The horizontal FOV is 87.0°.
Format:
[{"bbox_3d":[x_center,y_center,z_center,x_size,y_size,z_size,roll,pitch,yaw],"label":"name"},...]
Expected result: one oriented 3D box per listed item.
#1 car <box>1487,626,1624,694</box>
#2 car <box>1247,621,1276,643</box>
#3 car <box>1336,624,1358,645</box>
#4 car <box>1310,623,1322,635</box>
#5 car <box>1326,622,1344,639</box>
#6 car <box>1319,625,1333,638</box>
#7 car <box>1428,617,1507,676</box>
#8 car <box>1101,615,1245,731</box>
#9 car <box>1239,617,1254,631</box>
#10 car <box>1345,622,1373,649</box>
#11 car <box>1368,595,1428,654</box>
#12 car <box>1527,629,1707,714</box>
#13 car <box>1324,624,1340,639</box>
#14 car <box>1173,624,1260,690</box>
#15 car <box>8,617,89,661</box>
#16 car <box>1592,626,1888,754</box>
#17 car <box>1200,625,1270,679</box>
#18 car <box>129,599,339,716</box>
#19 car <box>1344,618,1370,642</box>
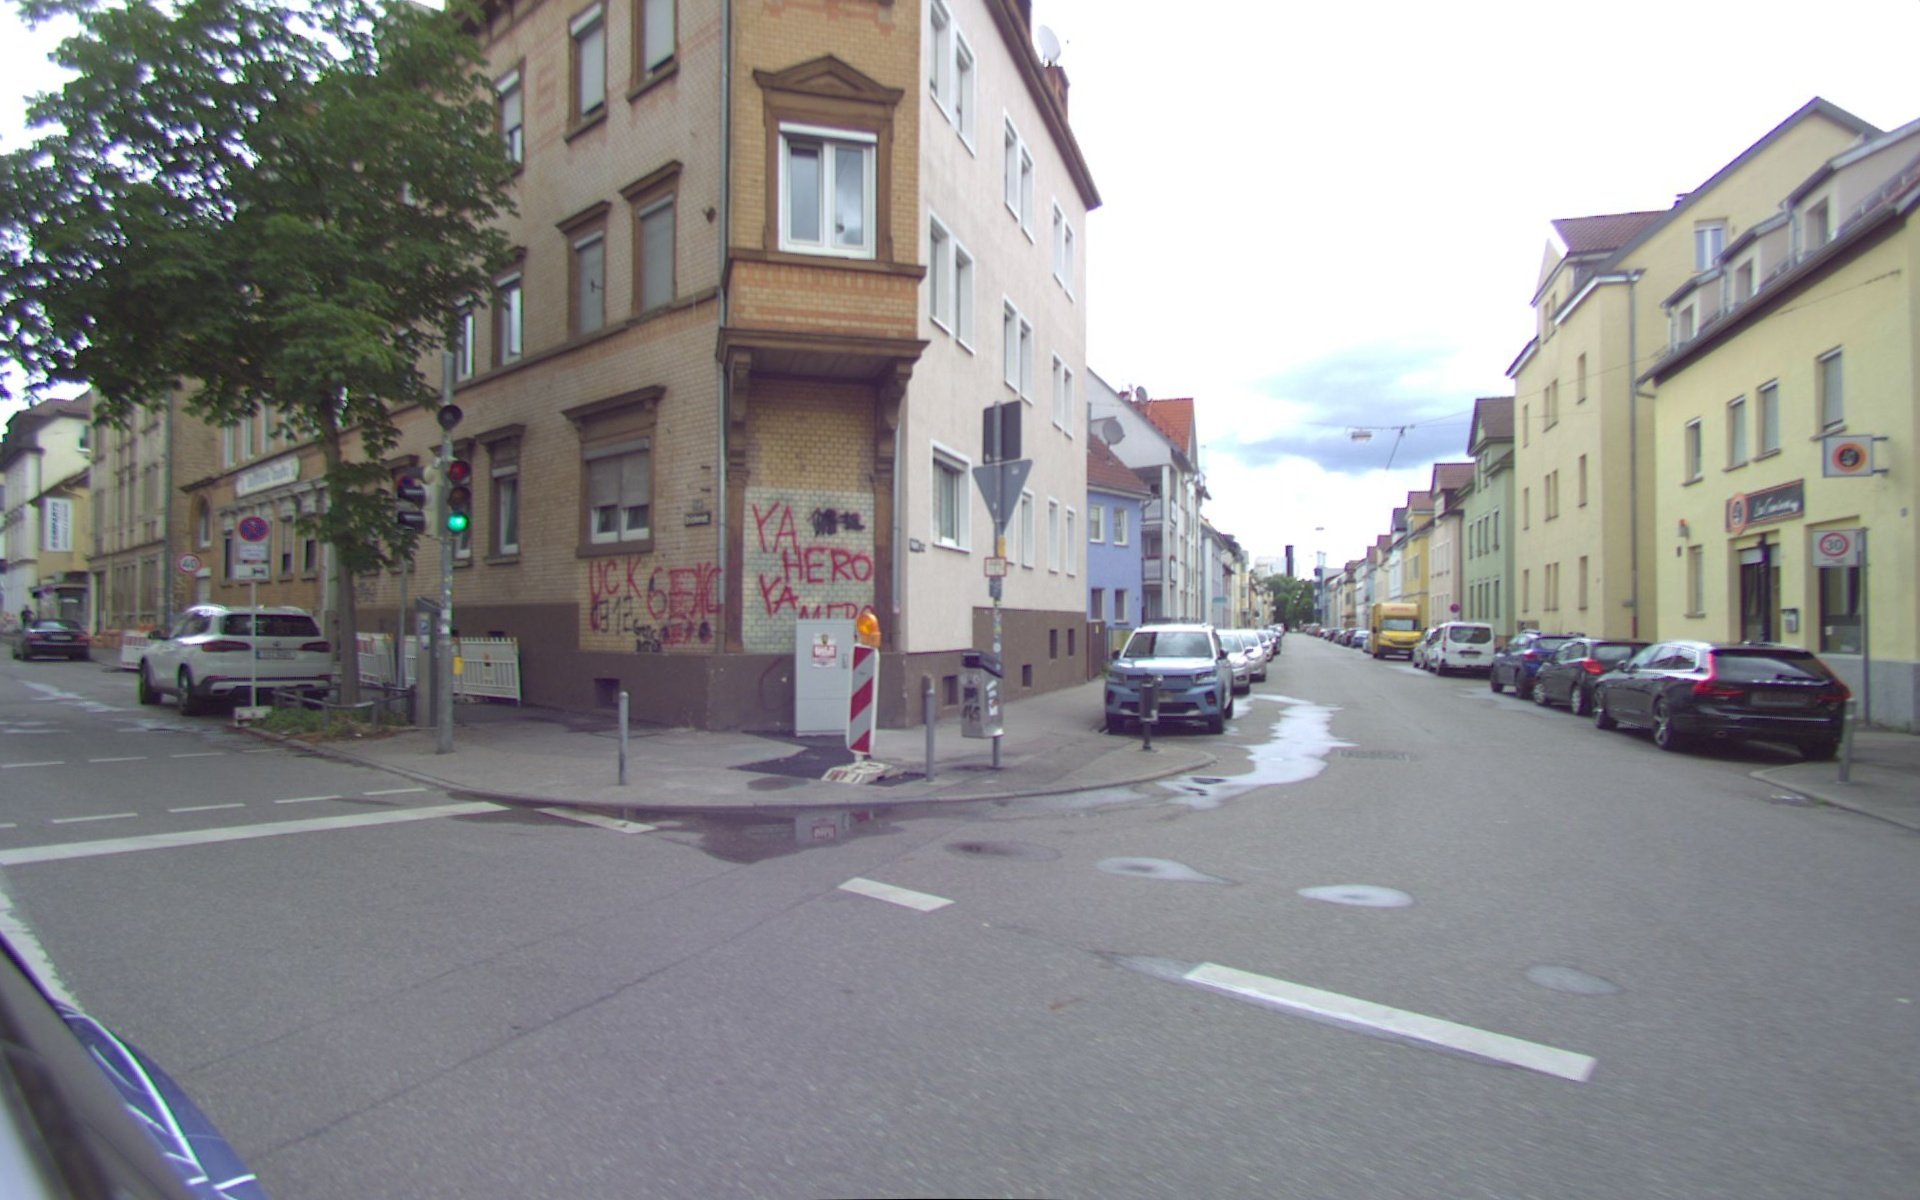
[{"bbox_3d":[13.936,1.351,23.922,1.895,1.455,3.656,0,-1,16],"label":"car"},{"bbox_3d":[21.203,2.239,71.121,1.745,1.465,3.824,0,-3,19],"label":"car"},{"bbox_3d":[38.989,3.456,102.079,1.985,2.029,3.973,0,-1,20],"label":"car"},{"bbox_3d":[63.316,5.111,179.787,1.985,2.029,3.973,0,-1,20],"label":"car"},{"bbox_3d":[45.041,3.690,121.630,1.985,2.029,3.973,0,-1,20],"label":"car"},{"bbox_3d":[58.832,5.006,162.671,1.985,2.029,3.973,0,-1,20],"label":"car"},{"bbox_3d":[17.289,1.549,34.616,1.801,1.894,3.655,0,-1,17],"label":"car"},{"bbox_3d":[3.438,1.028,15.830,1.762,1.563,3.698,0,-1,19],"label":"car"},{"bbox_3d":[44.882,3.738,158.274,1.985,2.029,3.973,0,-1,20],"label":"car"},{"bbox_3d":[31.697,2.791,80.519,1.985,2.029,3.973,0,-1,20],"label":"car"},{"bbox_3d":[22.309,1.246,51.755,2.308,2.776,6.830,0,-2,19],"label":"car"},{"bbox_3d":[12.587,1.300,19.666,1.895,1.455,3.666,0,-1,16],"label":"car"},{"bbox_3d":[50.743,4.252,137.950,1.985,2.029,3.973,0,-1,20],"label":"car"},{"bbox_3d":[6.357,1.365,24.795,1.745,1.465,3.824,0,-3,19],"label":"car"},{"bbox_3d":[-30.813,1.281,34.179,4.353,1.393,1.562,-1,-3,42],"label":"car"},{"bbox_3d":[10.497,1.099,14.075,1.897,1.455,4.360,0,-1,19],"label":"car"},{"bbox_3d":[8.231,1.529,30.133,1.745,1.465,3.824,0,-3,19],"label":"car"},{"bbox_3d":[-12.521,0.913,17.325,4.739,1.725,1.871,-1,-3,42],"label":"car"},{"bbox_3d":[34.204,2.572,87.353,1.985,2.029,3.973,0,-1,20],"label":"car"}]
